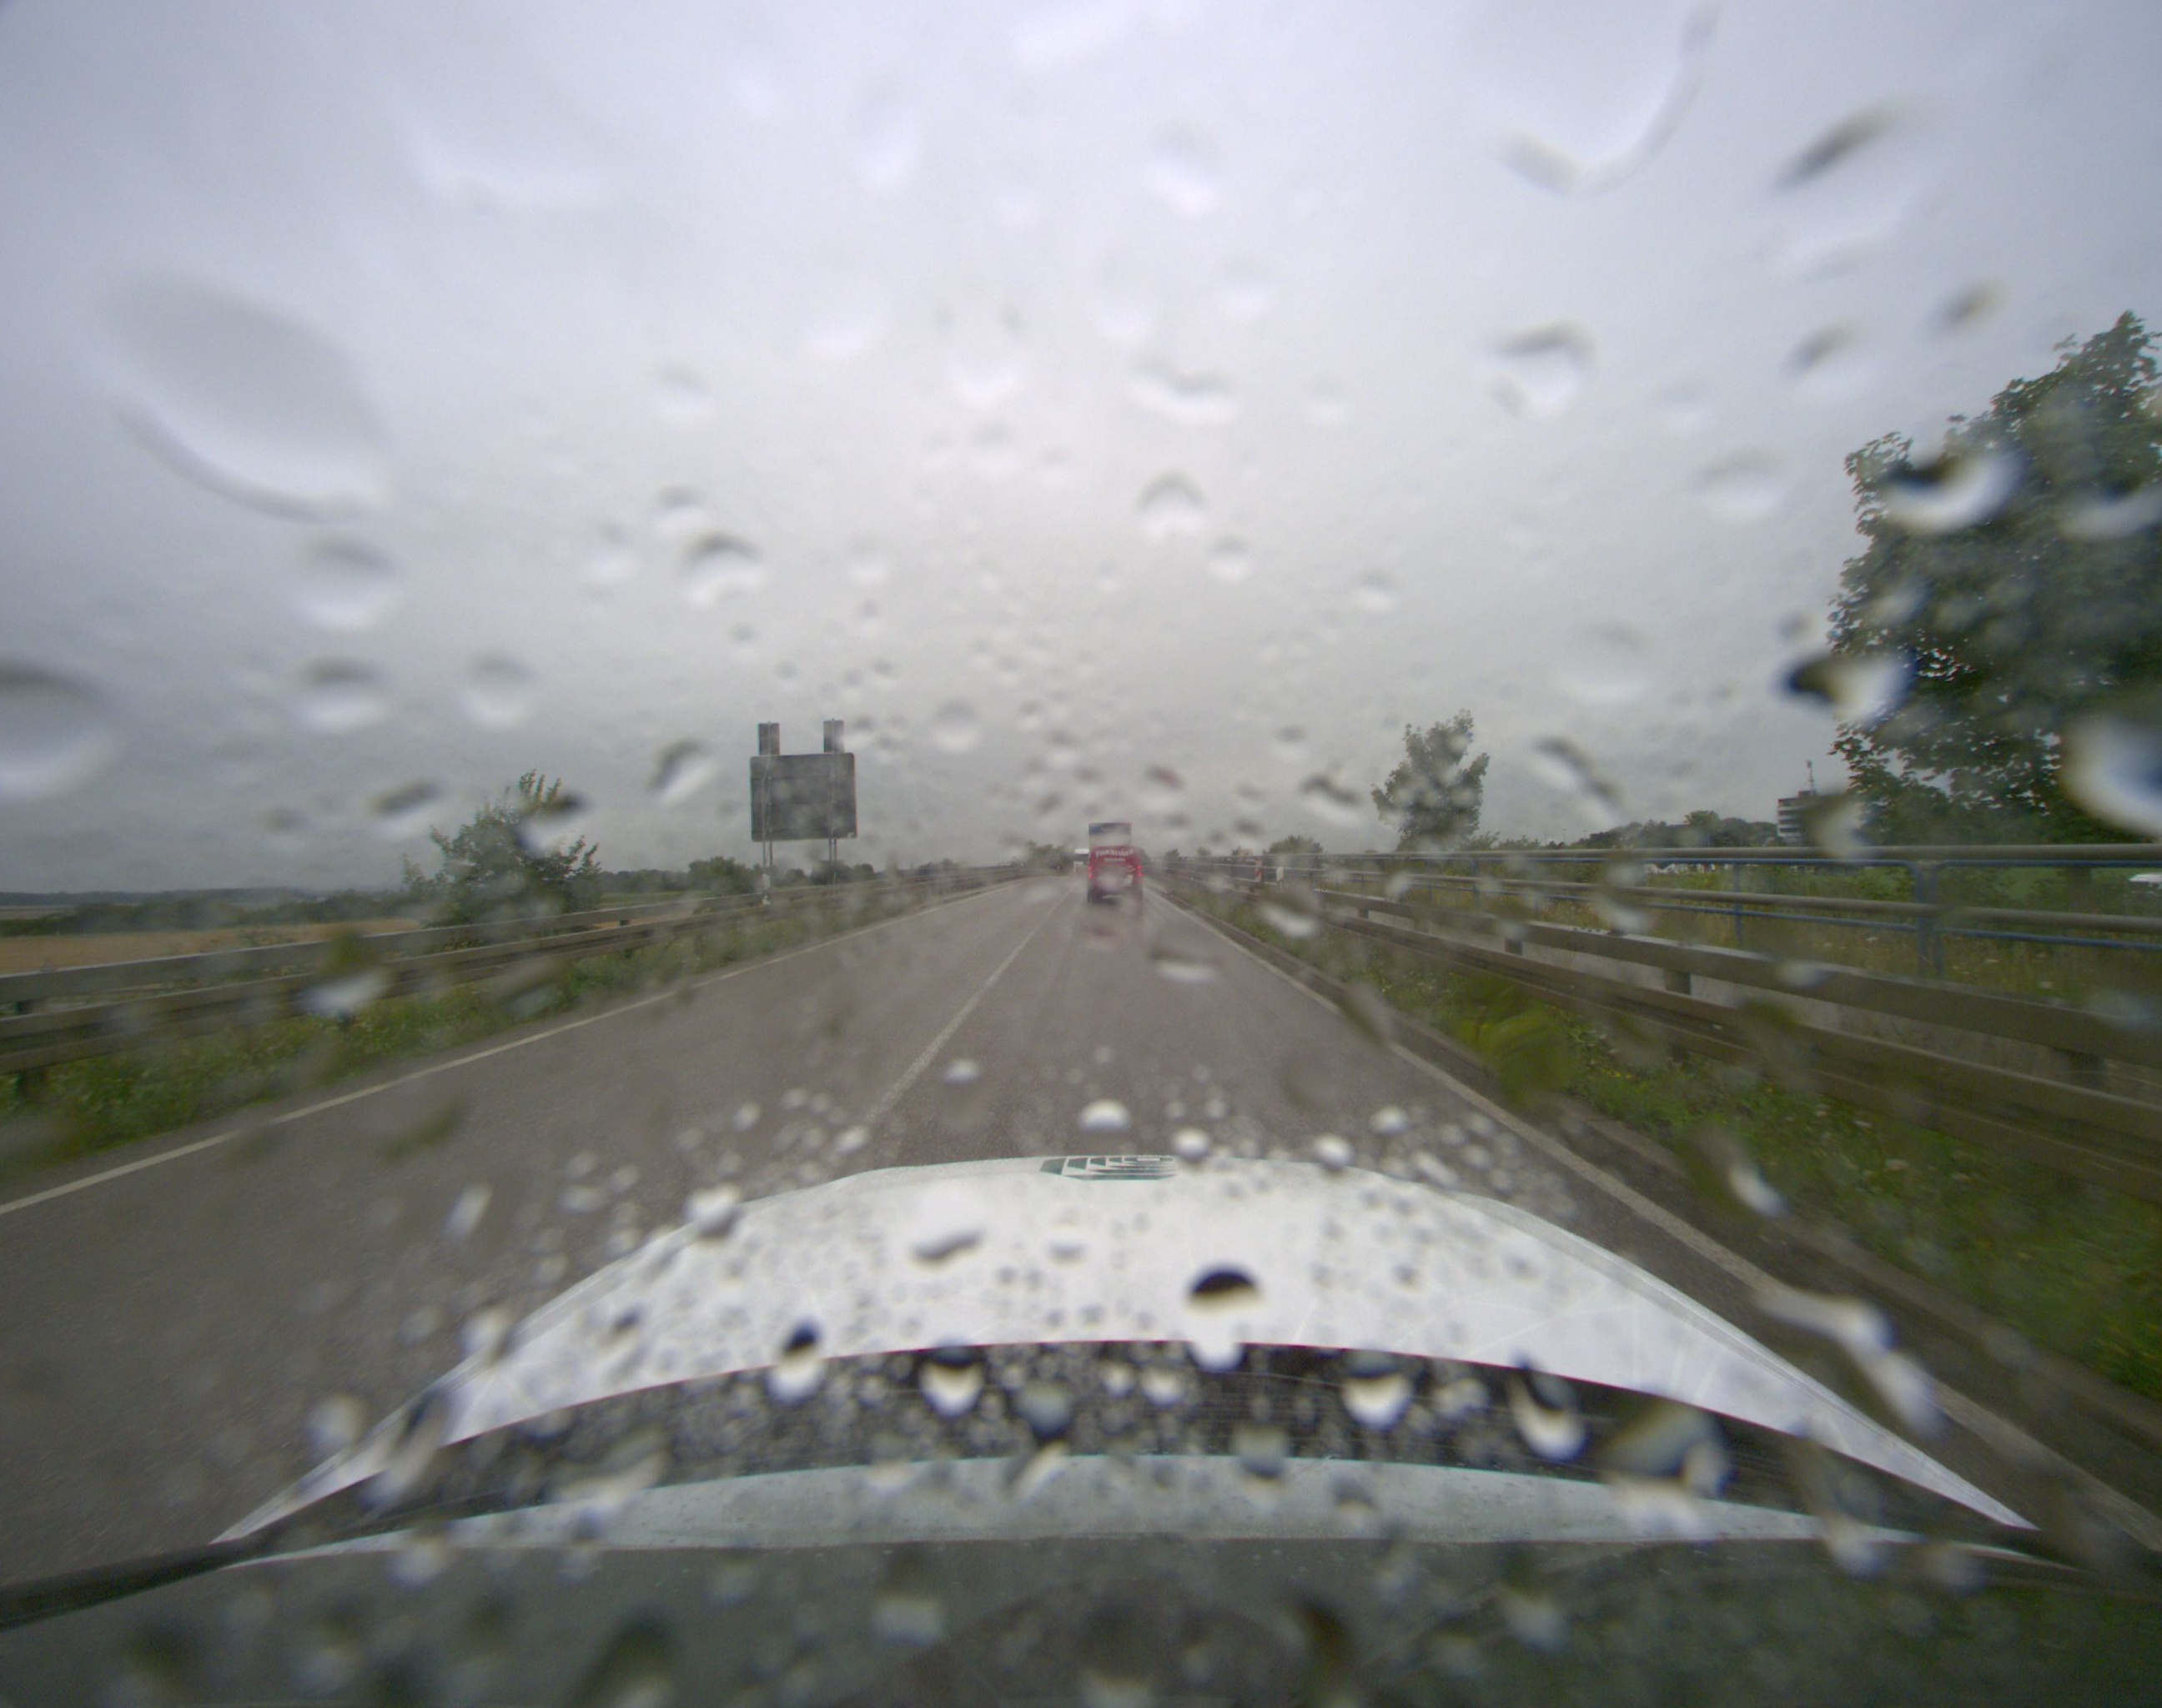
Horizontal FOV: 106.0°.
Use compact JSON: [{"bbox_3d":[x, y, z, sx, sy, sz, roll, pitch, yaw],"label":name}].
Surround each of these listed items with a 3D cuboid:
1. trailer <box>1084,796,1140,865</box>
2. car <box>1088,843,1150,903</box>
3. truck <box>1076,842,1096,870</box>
[{"bbox_3d":[2.069,-1.322,52.301,3.188,3.922,8.745,1,-1,3],"label":"trailer"},{"bbox_3d":[1.242,0.592,28.260,1.987,1.925,4.143,0,0,1],"label":"car"},{"bbox_3d":[0.741,0.321,120.730,2.808,3.970,8.764,-1,-1,1],"label":"truck"}]
